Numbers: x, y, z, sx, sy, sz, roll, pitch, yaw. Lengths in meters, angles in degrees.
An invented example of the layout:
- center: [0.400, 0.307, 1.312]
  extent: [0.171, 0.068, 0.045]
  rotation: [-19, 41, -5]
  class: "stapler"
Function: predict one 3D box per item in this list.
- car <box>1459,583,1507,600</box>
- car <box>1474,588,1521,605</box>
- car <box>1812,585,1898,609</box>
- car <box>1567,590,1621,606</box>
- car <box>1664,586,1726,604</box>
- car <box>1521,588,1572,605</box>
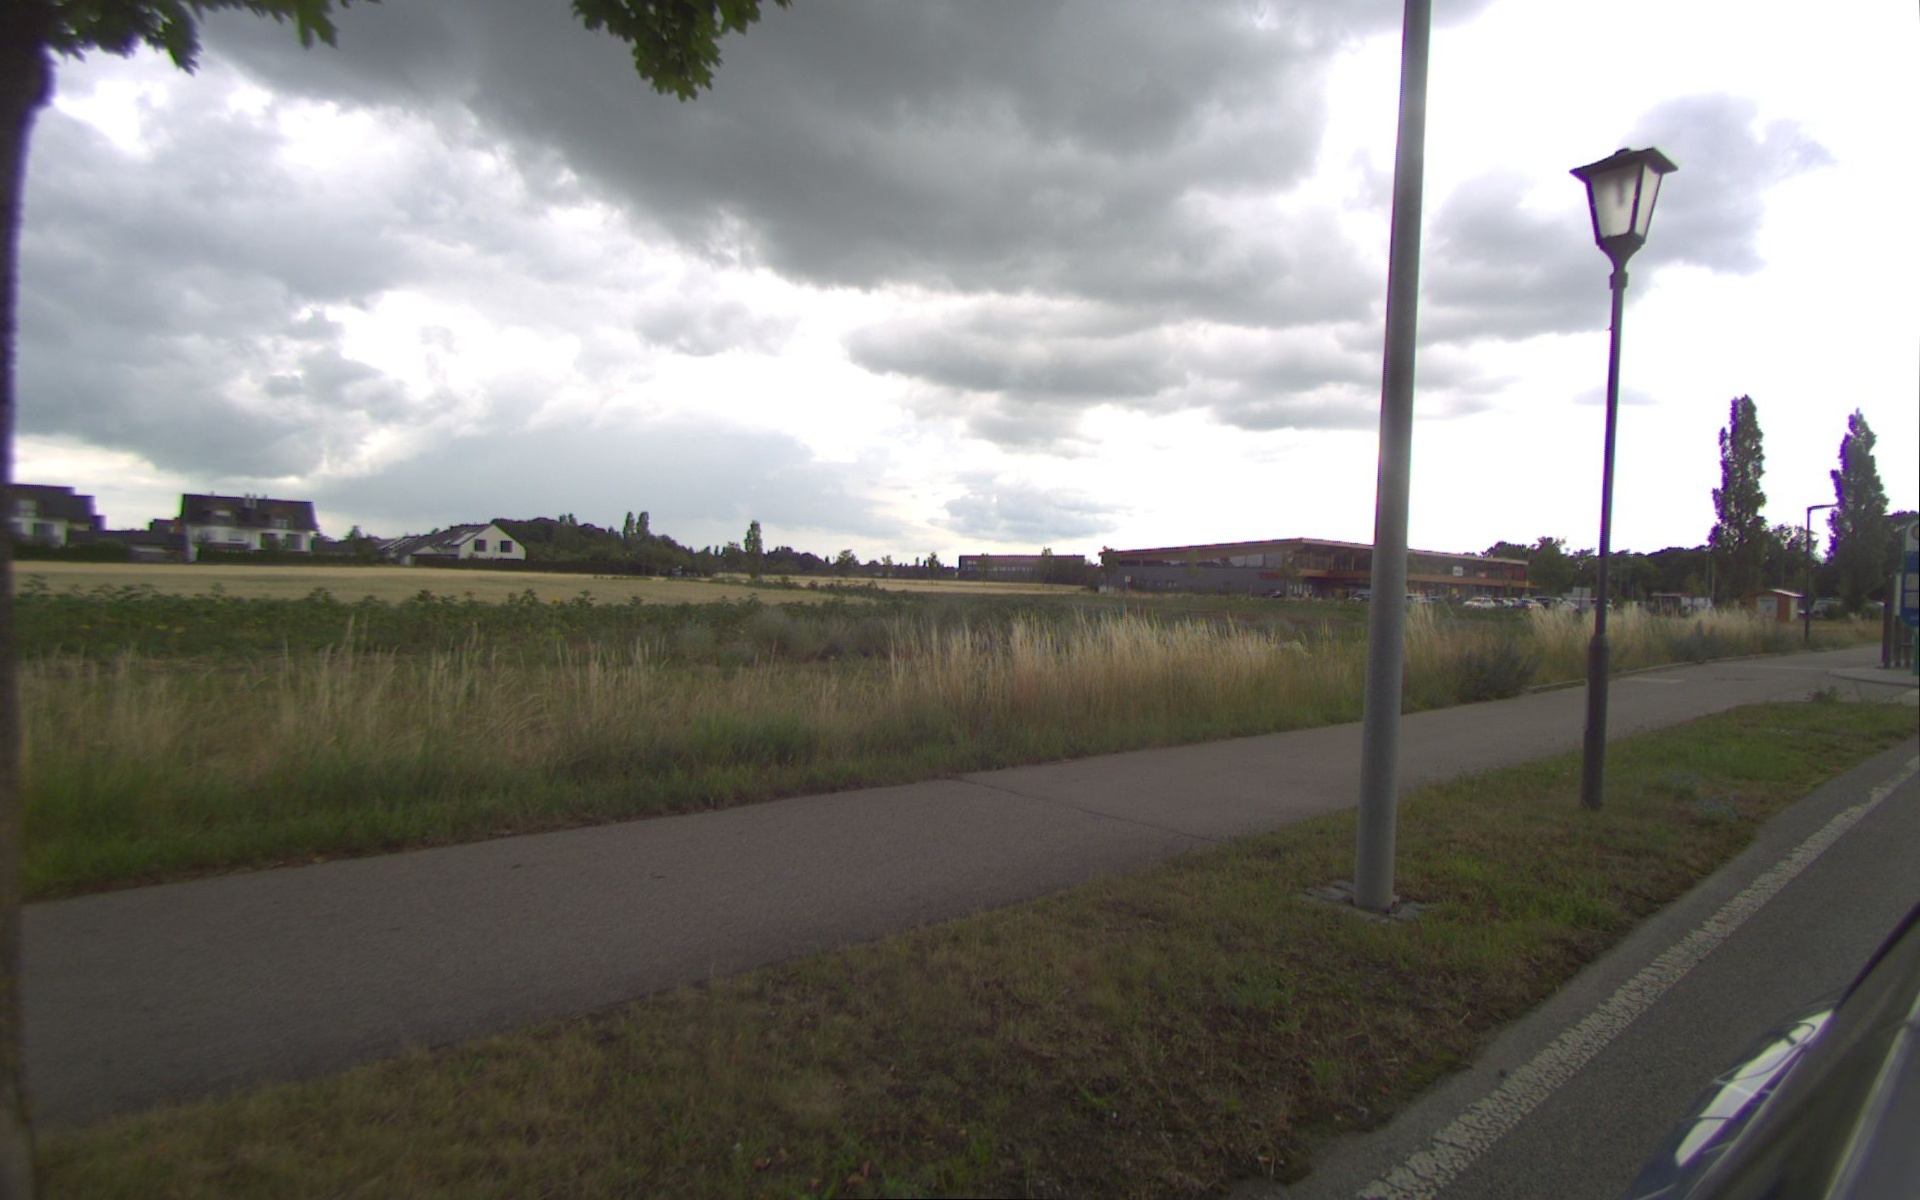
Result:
- center: [63.043, -1.039, 121.973]
  extent: [4.842, 2.039, 1.969]
  rotation: [0, 0, 44]
  class: "car"
- center: [67.268, -0.413, 126.644]
  extent: [4.842, 2.039, 1.969]
  rotation: [0, 0, 44]
  class: "car"
- center: [77.427, -0.284, 87.605]
  extent: [5.512, 2.039, 1.968]
  rotation: [0, 0, 45]
  class: "car"
- center: [80.719, -0.251, 128.838]
  extent: [5.512, 2.039, 1.968]
  rotation: [0, 0, 45]
  class: "car"
- center: [84.541, -0.535, 116.437]
  extent: [5.512, 2.039, 1.968]
  rotation: [0, 0, 45]
  class: "car"
- center: [69.260, -0.390, 119.532]
  extent: [4.842, 2.039, 1.969]
  rotation: [0, 0, 44]
  class: "car"
